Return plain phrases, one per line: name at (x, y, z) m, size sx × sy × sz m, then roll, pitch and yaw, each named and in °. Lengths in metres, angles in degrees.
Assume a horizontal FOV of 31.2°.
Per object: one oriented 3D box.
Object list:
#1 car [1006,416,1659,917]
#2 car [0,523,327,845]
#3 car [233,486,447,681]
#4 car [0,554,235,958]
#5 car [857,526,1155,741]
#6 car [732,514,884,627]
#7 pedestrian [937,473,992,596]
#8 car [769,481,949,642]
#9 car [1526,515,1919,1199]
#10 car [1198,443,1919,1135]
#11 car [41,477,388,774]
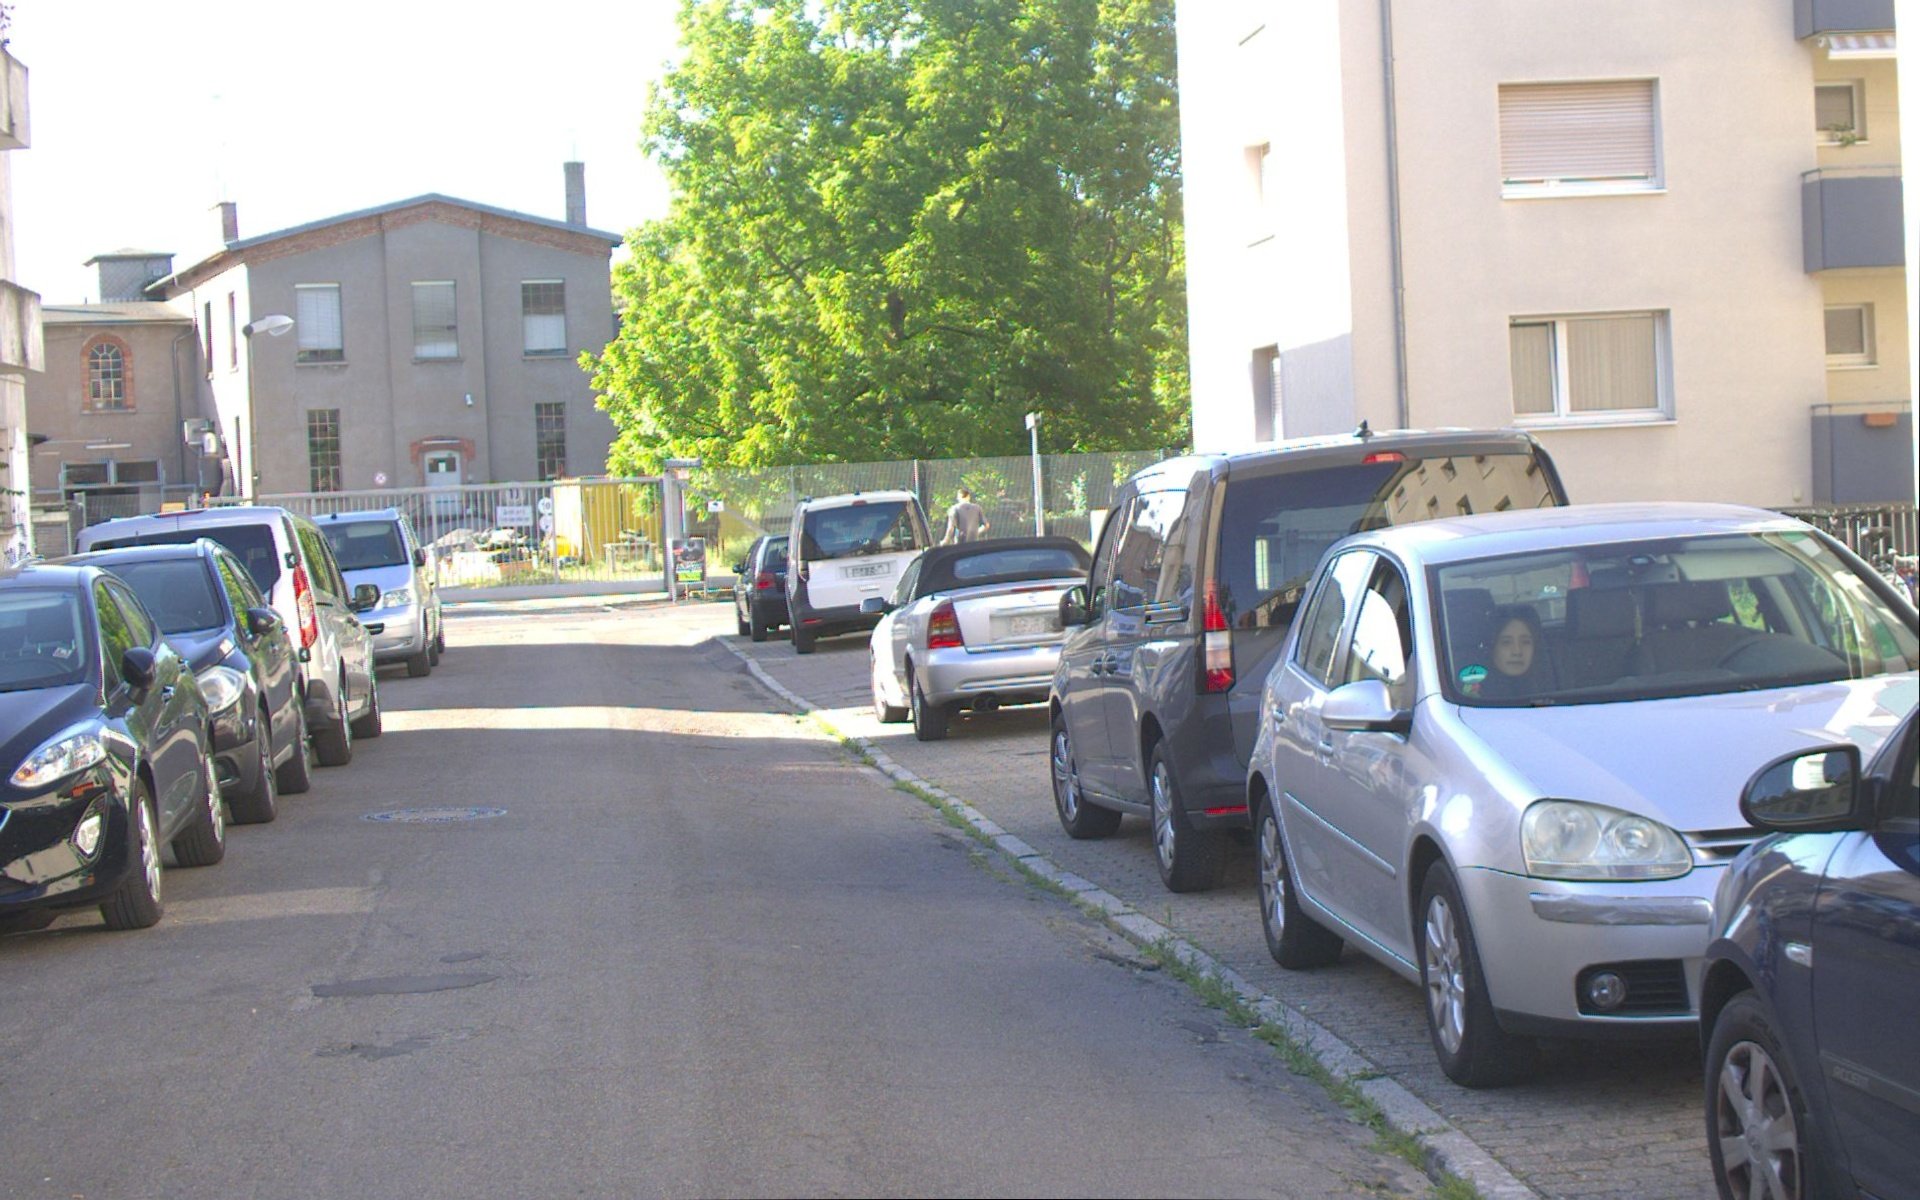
car at (1.489, 0.235, 15.528) m, size 1.896 × 1.849 × 4.345 m, roll -3°, pitch 1°, yaw -7°
car at (-4.648, 0.405, 19.152) m, size 1.832 × 1.510 × 4.001 m, roll -4°, pitch 1°, yaw -6°
car at (-7.165, -0.222, 40.135) m, size 1.993 × 2.006 × 4.455 m, roll -4°, pitch 1°, yaw -6°
car at (-4.139, 0.589, 14.443) m, size 1.658 × 1.438 × 3.872 m, roll -4°, pitch 1°, yaw -6°
car at (0.265, 0.187, 25.954) m, size 1.717 × 1.359 × 4.056 m, roll -4°, pitch 2°, yaw -6°
car at (-2.136, -0.423, 47.418) m, size 1.765 × 1.357 × 4.095 m, roll -4°, pitch 1°, yaw -6°
pedestrian at (0.070, -0.997, 52.052) m, size 0.654 × 1.809 × 0.614 m, roll -4°, pitch 1°, yaw 4°
car at (-1.283, -0.480, 41.934) m, size 1.765 × 1.733 × 4.095 m, roll -4°, pitch 1°, yaw -6°
car at (2.343, 0.561, 5.629) m, size 1.737 × 1.427 × 4.357 m, roll -4°, pitch 1°, yaw -4°
car at (1.909, 0.384, 10.223) m, size 1.681 × 1.582 × 4.013 m, roll -4°, pitch 2°, yaw -5°
car at (-5.237, 0.145, 24.662) m, size 1.896 × 1.849 × 4.196 m, roll -3°, pitch 1°, yaw -6°
